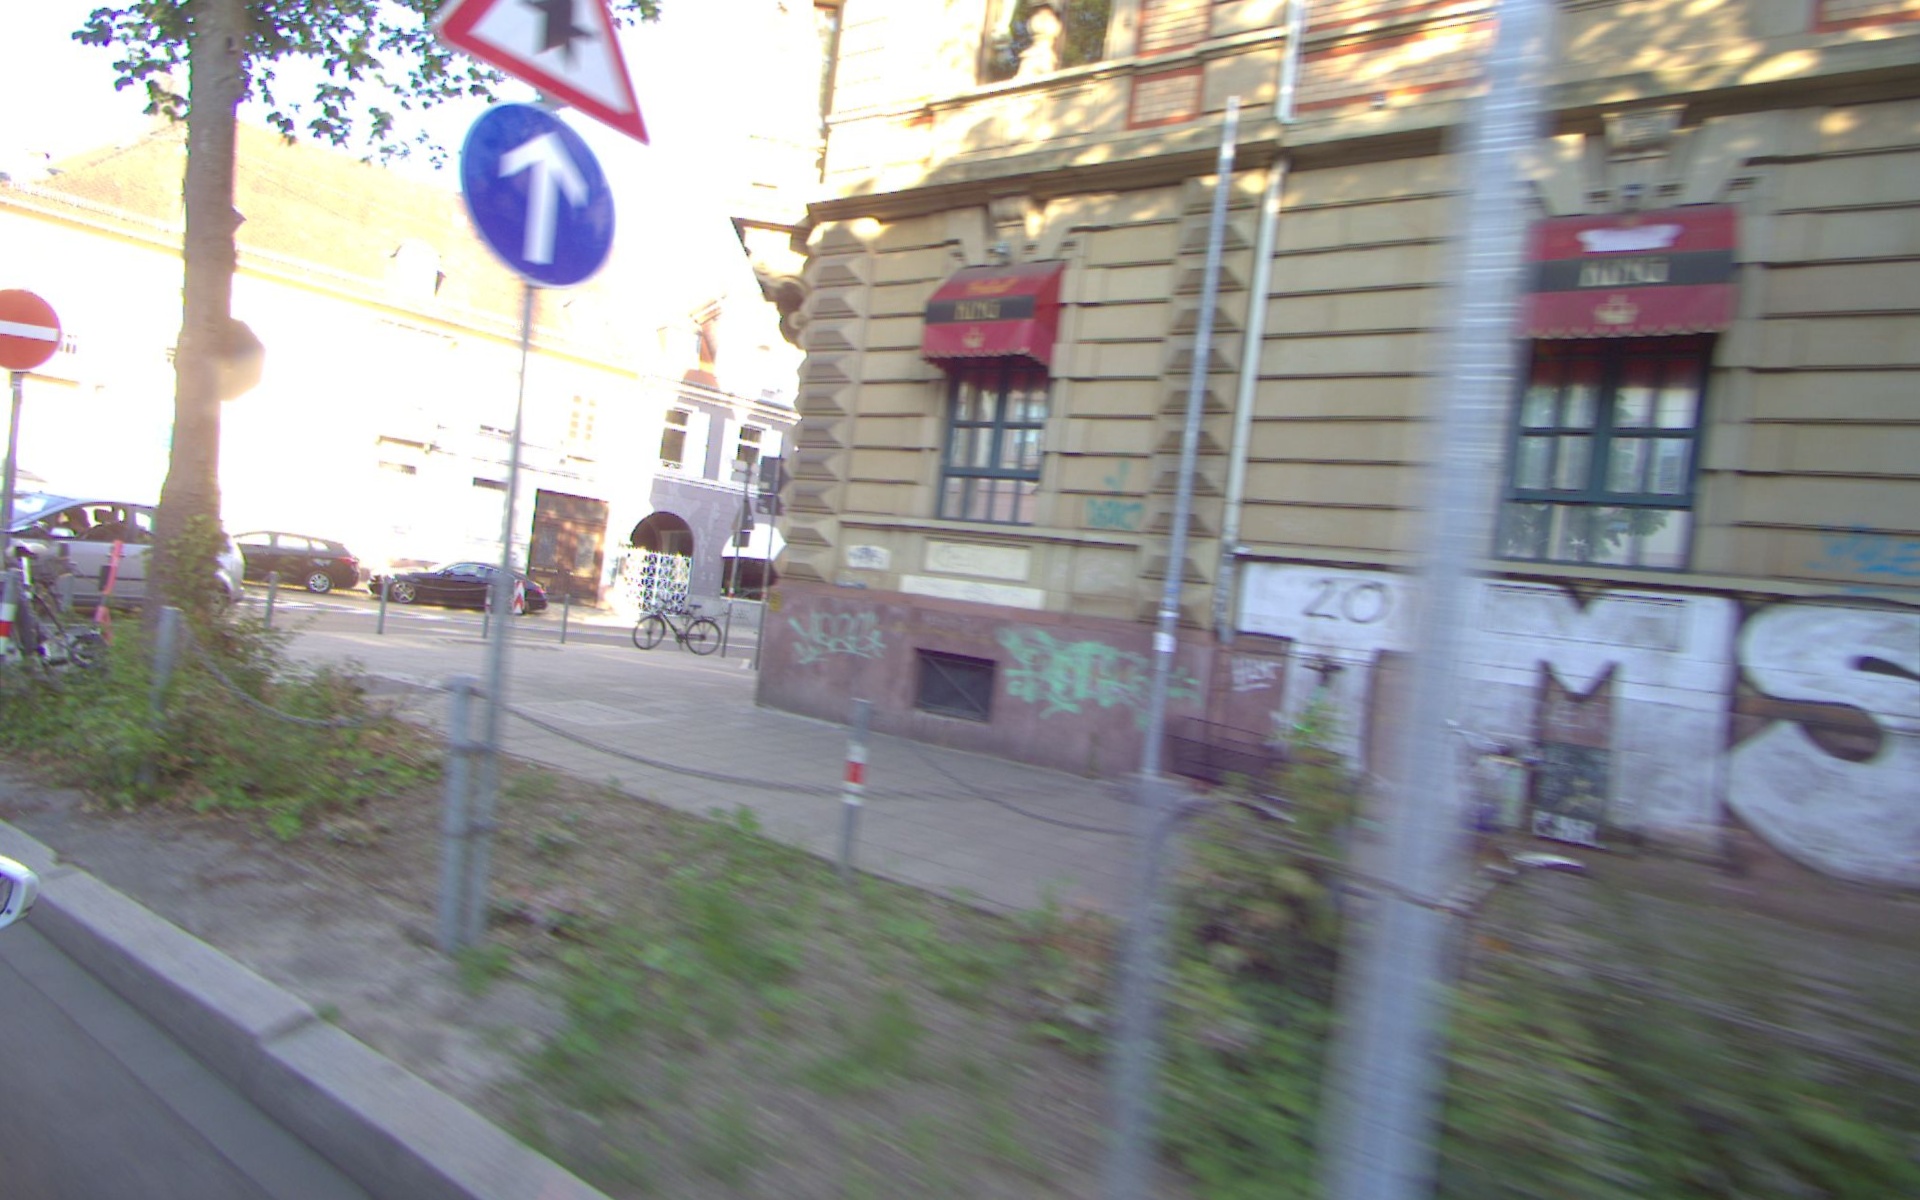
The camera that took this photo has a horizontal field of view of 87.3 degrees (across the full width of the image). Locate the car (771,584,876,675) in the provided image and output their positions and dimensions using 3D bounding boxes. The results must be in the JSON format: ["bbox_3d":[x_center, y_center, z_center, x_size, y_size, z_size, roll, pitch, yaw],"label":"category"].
[{"bbox_3d":[-2.826,0.659,20.133,1.684,1.427,4.278,7,-4,-11],"label":"car"}]

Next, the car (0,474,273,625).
[{"bbox_3d":[-11.646,-0.668,12.979,1.850,1.673,4.356,7,-1,13],"label":"car"}]

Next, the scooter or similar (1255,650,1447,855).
[{"bbox_3d":[2.711,1.026,7.015,1.074,1.209,0.251,8,1,33],"label":"scooter or similar"}]

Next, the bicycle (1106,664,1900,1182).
[{"bbox_3d":[1.720,0.964,3.585,2.210,1.166,0.524,7,1,28],"label":"bicycle"}]

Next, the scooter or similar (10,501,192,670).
[{"bbox_3d":[-7.179,-0.117,8.479,0.498,1.258,1.271,7,0,-11],"label":"scooter or similar"}]

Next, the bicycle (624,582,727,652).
[{"bbox_3d":[-5.586,0.330,19.818,1.805,1.148,0.825,7,-1,-16],"label":"bicycle"}]

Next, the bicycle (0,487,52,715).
[{"bbox_3d":[-6.350,-0.041,6.580,1.271,1.390,0.415,8,2,43],"label":"bicycle"}]

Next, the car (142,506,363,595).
[{"bbox_3d":[-17.881,-1.229,25.710,4.380,1.561,1.851,8,0,-33],"label":"car"}]

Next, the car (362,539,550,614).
[{"bbox_3d":[-14.255,-0.634,28.538,4.477,1.387,1.757,8,2,-35],"label":"car"}]
